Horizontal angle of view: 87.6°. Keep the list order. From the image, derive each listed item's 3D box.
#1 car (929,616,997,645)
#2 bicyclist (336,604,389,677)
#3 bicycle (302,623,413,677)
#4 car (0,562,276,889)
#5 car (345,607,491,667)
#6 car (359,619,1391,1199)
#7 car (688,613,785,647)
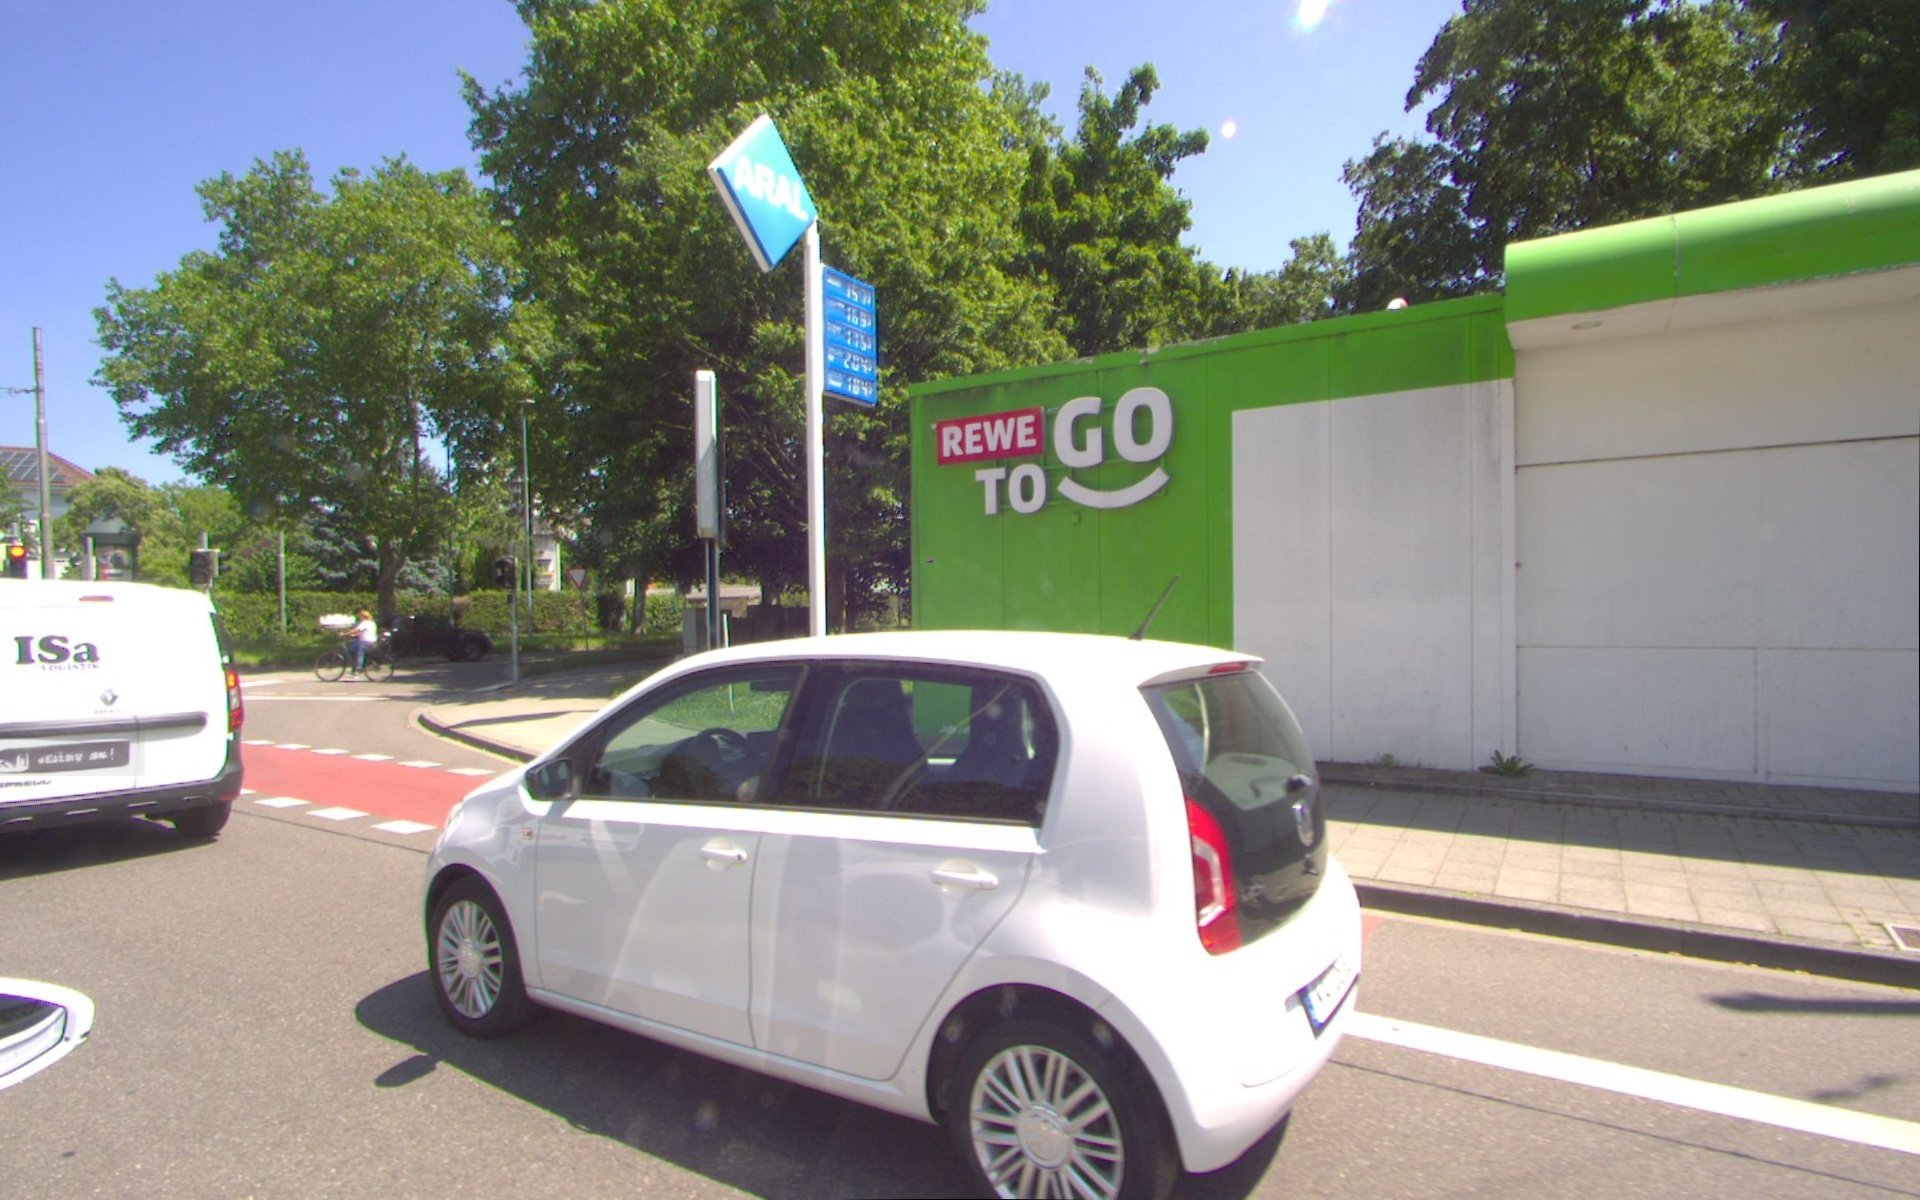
[{"bbox_3d":[0.213,1.845,61.640,1.974,1.638,4.426,-1,-1,36],"label":"car"},{"bbox_3d":[-14.886,0.989,24.978,0.941,1.762,1.128,-1,0,-21],"label":"bicyclist"},{"bbox_3d":[-14.972,1.227,24.975,2.231,1.285,0.884,0,0,-21],"label":"bicycle"},{"bbox_3d":[-6.856,0.741,7.189,3.954,1.854,1.707,-1,0,31],"label":"car"},{"bbox_3d":[-18.181,1.184,33.676,3.960,1.884,1.981,0,0,-44],"label":"car"},{"bbox_3d":[-0.445,0.823,3.612,3.471,1.470,1.604,-1,-2,33],"label":"car"},{"bbox_3d":[-9.789,1.295,44.026,1.528,1.397,3.966,-1,-1,44],"label":"car"}]
